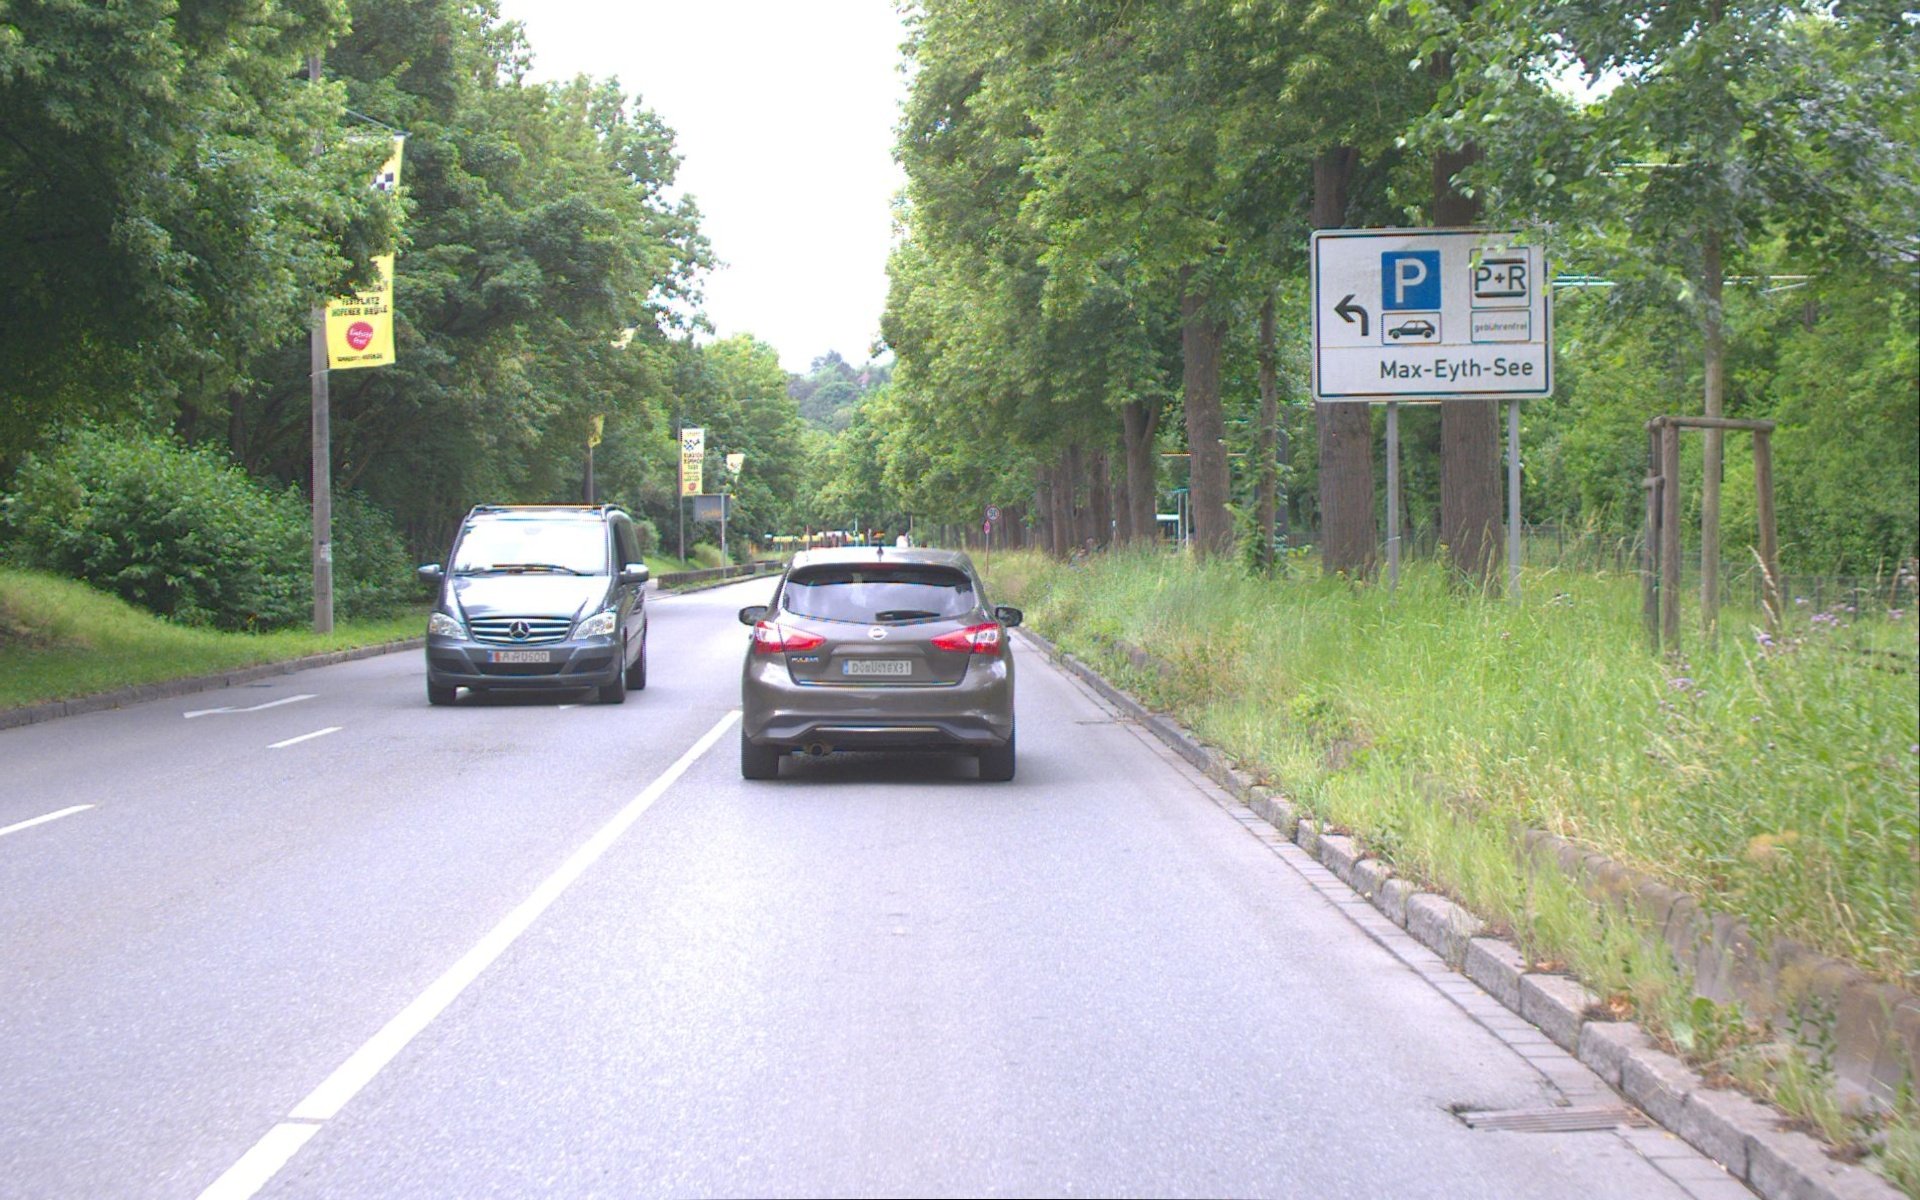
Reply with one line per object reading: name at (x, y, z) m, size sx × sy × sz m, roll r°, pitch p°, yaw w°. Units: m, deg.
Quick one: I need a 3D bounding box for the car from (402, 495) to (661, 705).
car at (-4.235, -0.028, 34.789) m, size 1.993 × 1.949 × 5.184 m, roll 0°, pitch 1°, yaw 0°

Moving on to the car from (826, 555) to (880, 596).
car at (-3.826, -0.879, 123.413) m, size 1.561 × 1.436 × 3.551 m, roll 1°, pitch 1°, yaw 4°

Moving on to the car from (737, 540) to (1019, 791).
car at (-0.558, 0.383, 23.176) m, size 1.730 × 1.532 × 3.552 m, roll 1°, pitch 1°, yaw -2°
